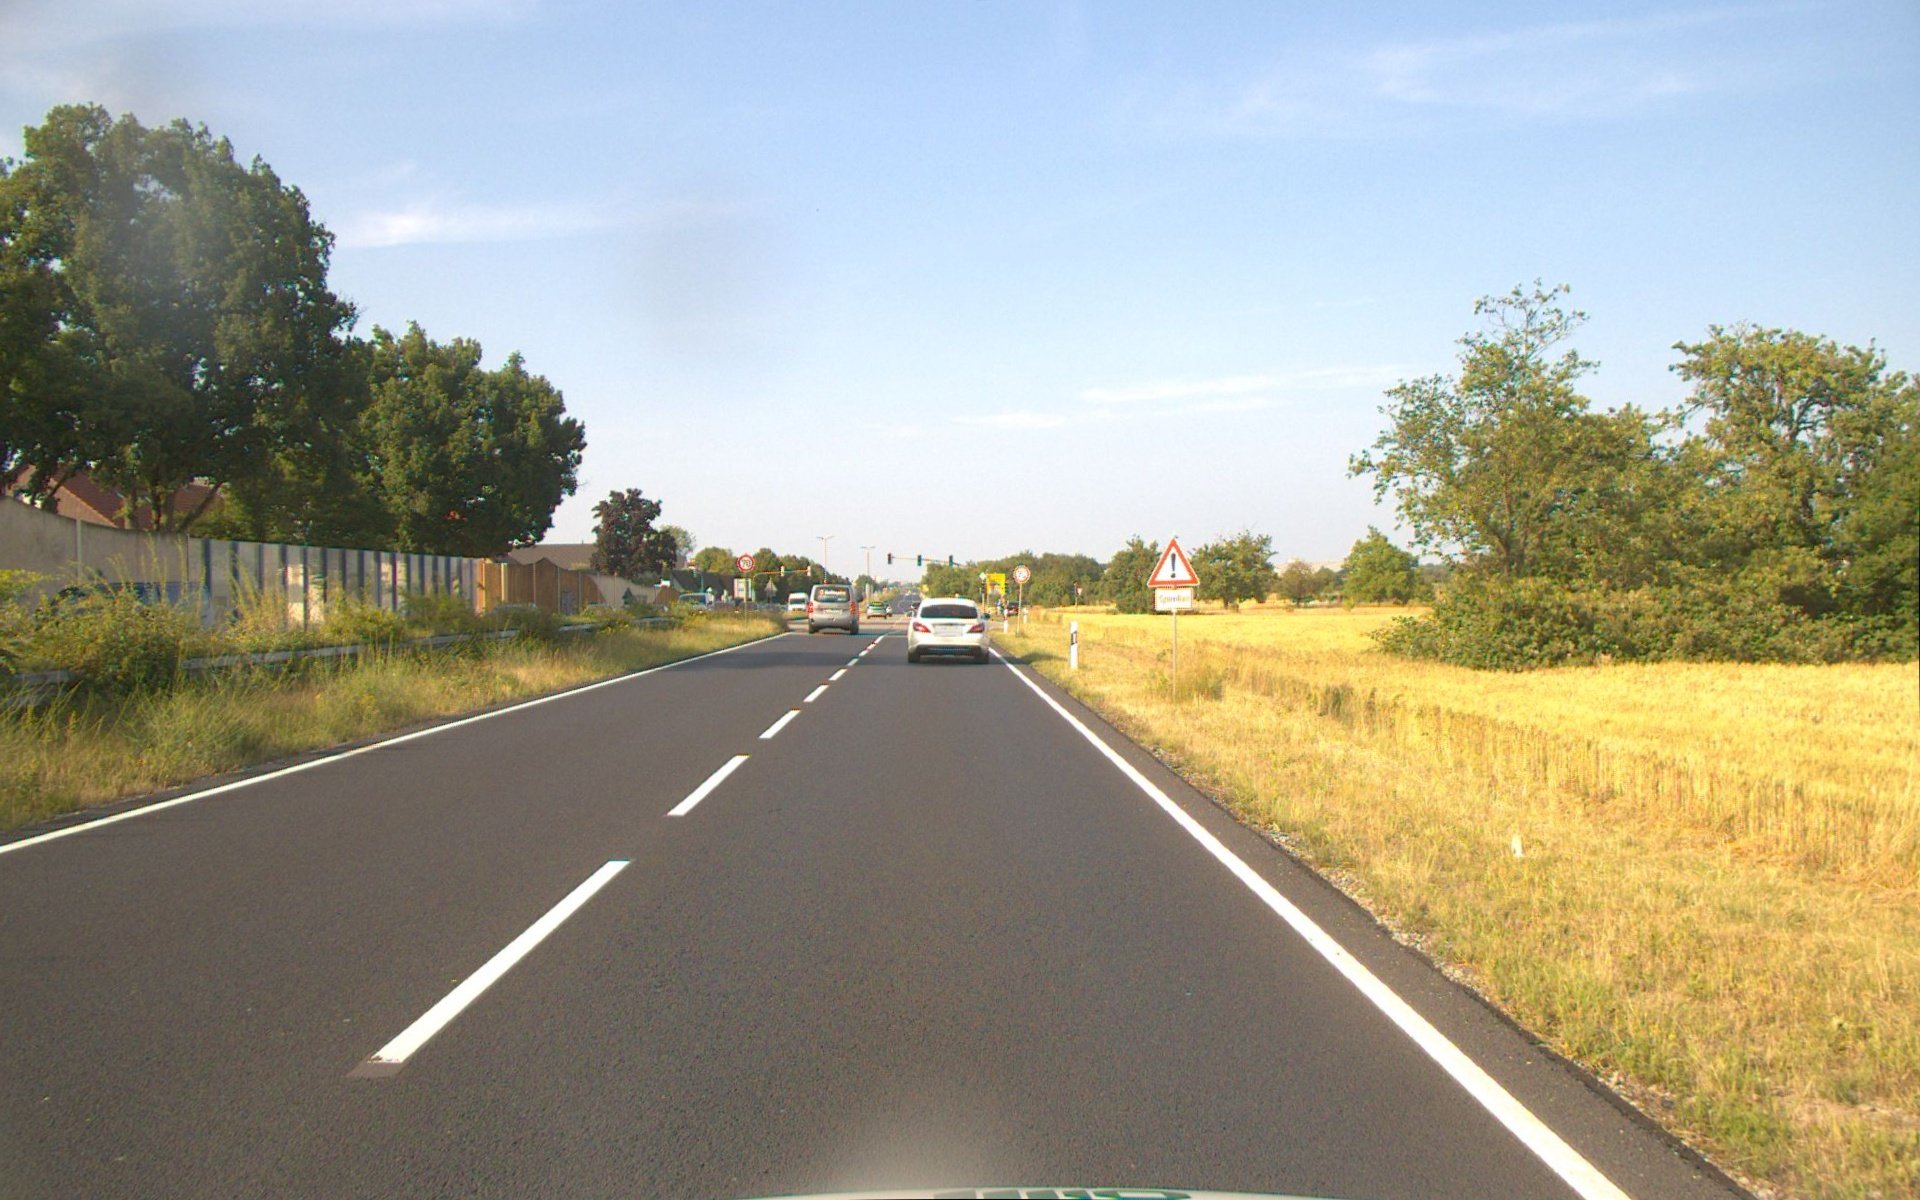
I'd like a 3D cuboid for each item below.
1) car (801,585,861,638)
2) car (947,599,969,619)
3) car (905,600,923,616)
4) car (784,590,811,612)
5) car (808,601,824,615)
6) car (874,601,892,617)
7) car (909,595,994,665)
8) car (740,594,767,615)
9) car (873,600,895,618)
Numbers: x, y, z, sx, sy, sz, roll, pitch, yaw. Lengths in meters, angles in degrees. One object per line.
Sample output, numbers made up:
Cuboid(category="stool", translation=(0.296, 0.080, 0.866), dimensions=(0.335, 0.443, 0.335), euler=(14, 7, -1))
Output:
Cuboid(category="car", translation=(-4.949, 0.405, 64.177), dimensions=(1.984, 1.925, 4.957), euler=(1, 0, -1))
Cuboid(category="car", translation=(-0.167, 0.739, 135.904), dimensions=(1.718, 1.543, 3.999), euler=(-1, 0, -1))
Cuboid(category="car", translation=(-5.115, 0.846, 183.651), dimensions=(1.801, 1.713, 4.000), euler=(1, 0, 1))
Cuboid(category="car", translation=(-17.232, 0.111, 175.596), dimensions=(2.301, 2.344, 7.188), euler=(1, 0, -2))
Cuboid(category="car", translation=(-18.081, 0.967, 207.904), dimensions=(1.696, 1.653, 4.920), euler=(1, 0, -2))
Cuboid(category="car", translation=(-8.223, 0.934, 175.848), dimensions=(1.741, 1.695, 3.659), euler=(1, 0, -5))
Cuboid(category="car", translation=(-0.235, 0.656, 38.219), dimensions=(1.856, 1.535, 3.998), euler=(0, 0, -2))
Cuboid(category="car", translation=(-14.865, 0.304, 119.329), dimensions=(1.484, 1.491, 4.657), euler=(1, 0, -1))
Cuboid(category="car", translation=(-6.447, 0.757, 140.777), dimensions=(1.682, 1.518, 3.583), euler=(1, 0, -1))
